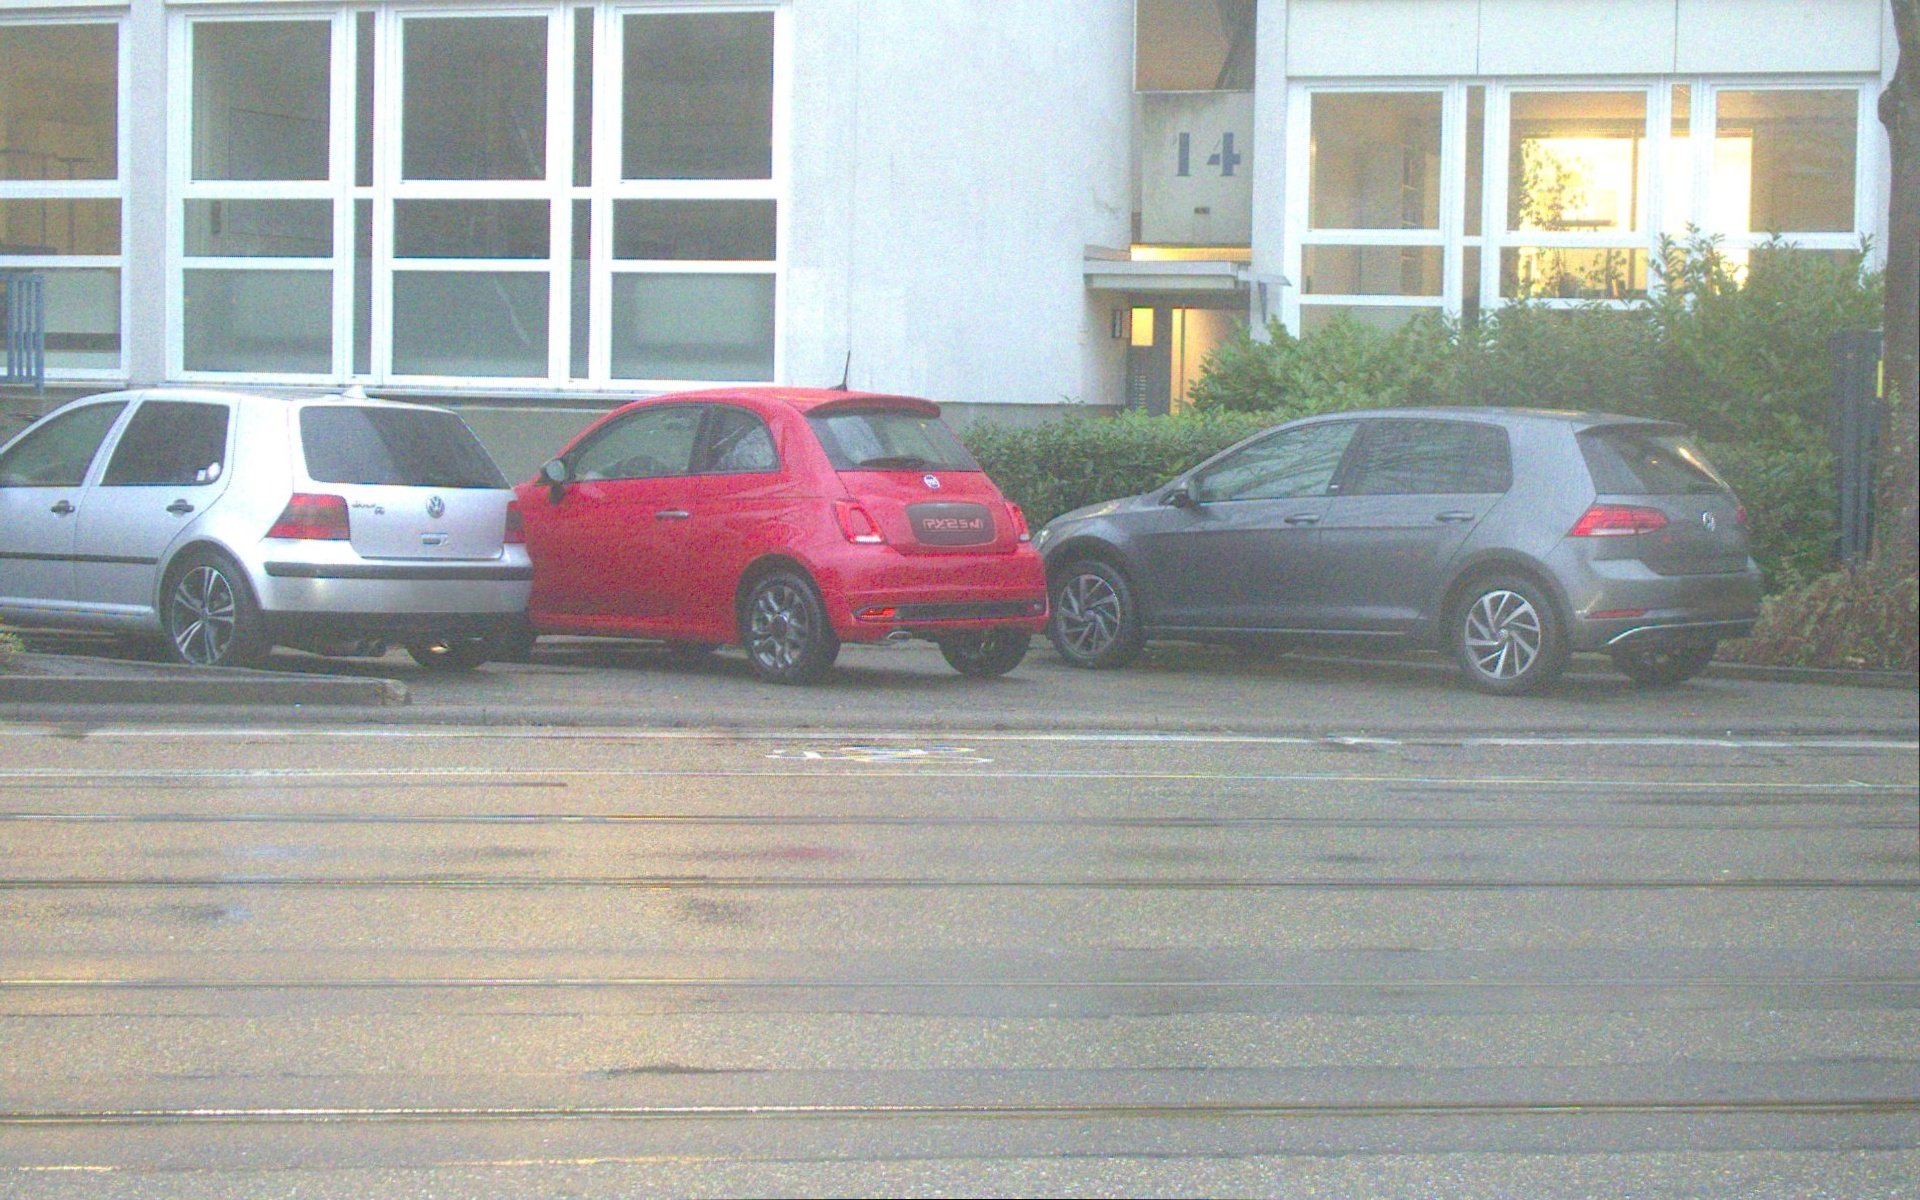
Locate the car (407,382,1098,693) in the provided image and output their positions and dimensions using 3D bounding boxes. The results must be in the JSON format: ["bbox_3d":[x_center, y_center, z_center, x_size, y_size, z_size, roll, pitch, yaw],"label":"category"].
[{"bbox_3d":[-1.154,-0.402,18.285,3.448,1.487,1.725,3,4,41],"label":"car"}]

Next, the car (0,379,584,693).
[{"bbox_3d":[-4.016,-0.405,17.692,3.996,1.441,1.789,3,4,37],"label":"car"}]

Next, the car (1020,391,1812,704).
[{"bbox_3d":[2.363,-0.355,18.329,3.850,1.487,1.692,3,4,39],"label":"car"}]

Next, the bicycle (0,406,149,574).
[{"bbox_3d":[-6.460,-0.783,23.864,0.640,1.116,2.204,1,3,15],"label":"bicycle"}]
